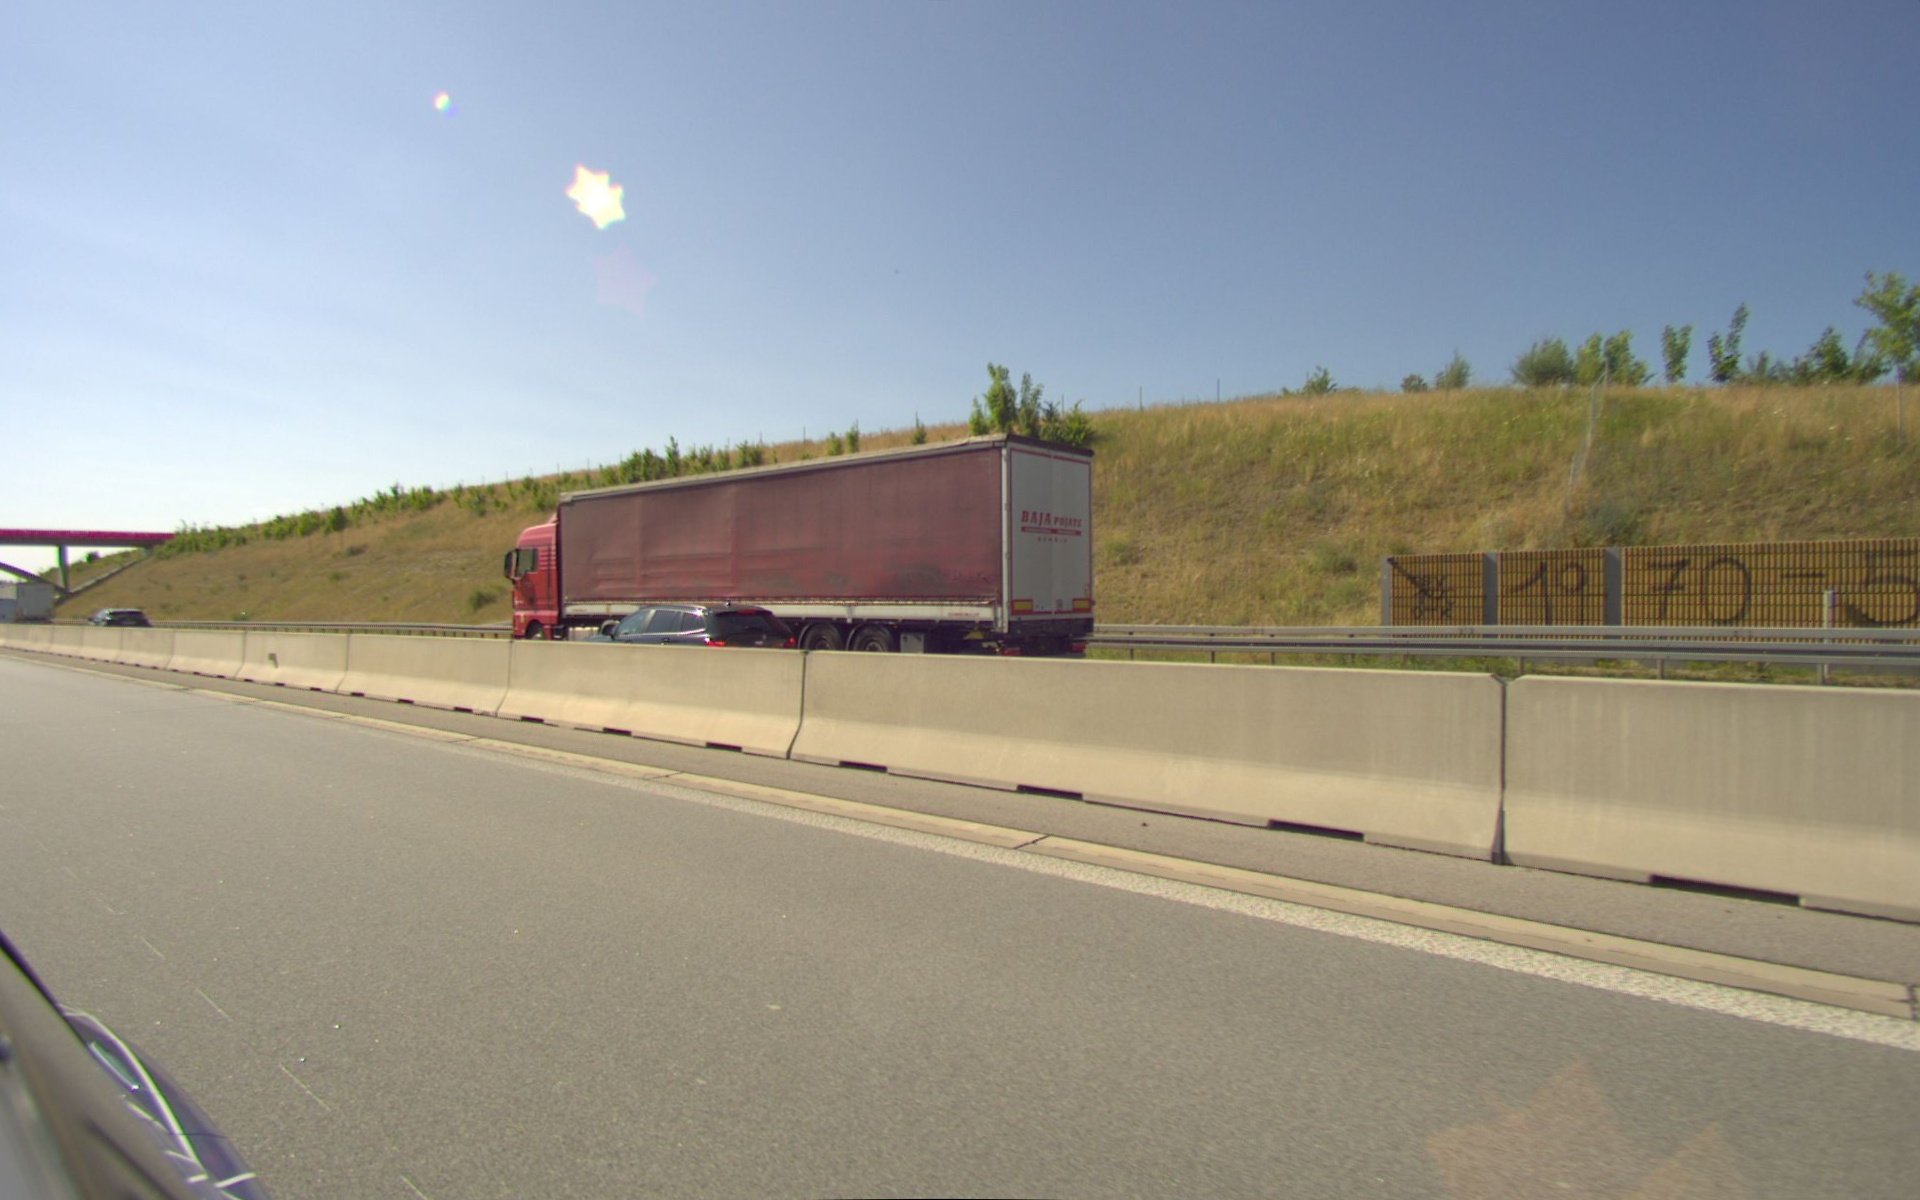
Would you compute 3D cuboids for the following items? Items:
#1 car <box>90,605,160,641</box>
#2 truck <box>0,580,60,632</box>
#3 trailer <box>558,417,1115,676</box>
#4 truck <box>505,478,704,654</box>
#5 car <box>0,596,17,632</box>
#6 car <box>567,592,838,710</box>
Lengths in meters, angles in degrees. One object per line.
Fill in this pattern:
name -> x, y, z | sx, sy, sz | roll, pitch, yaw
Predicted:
car -> -37.248, 1.013, 45.100 | 4.159, 1.516, 1.669 | -1, 0, 40
truck -> -83.140, 0.581, 90.001 | 12.728, 4.341, 2.984 | -1, 0, 41
trailer -> -3.456, -0.771, 20.643 | 13.723, 3.905, 2.611 | -1, 0, 40
truck -> -8.945, -0.756, 25.284 | 4.891, 3.952, 2.610 | -1, 0, 41
car -> -69.301, 0.983, 72.280 | 5.828, 2.474, 2.184 | -1, 0, 40
car -> -4.170, 0.716, 15.962 | 4.655, 1.605, 1.778 | -1, 0, 40
